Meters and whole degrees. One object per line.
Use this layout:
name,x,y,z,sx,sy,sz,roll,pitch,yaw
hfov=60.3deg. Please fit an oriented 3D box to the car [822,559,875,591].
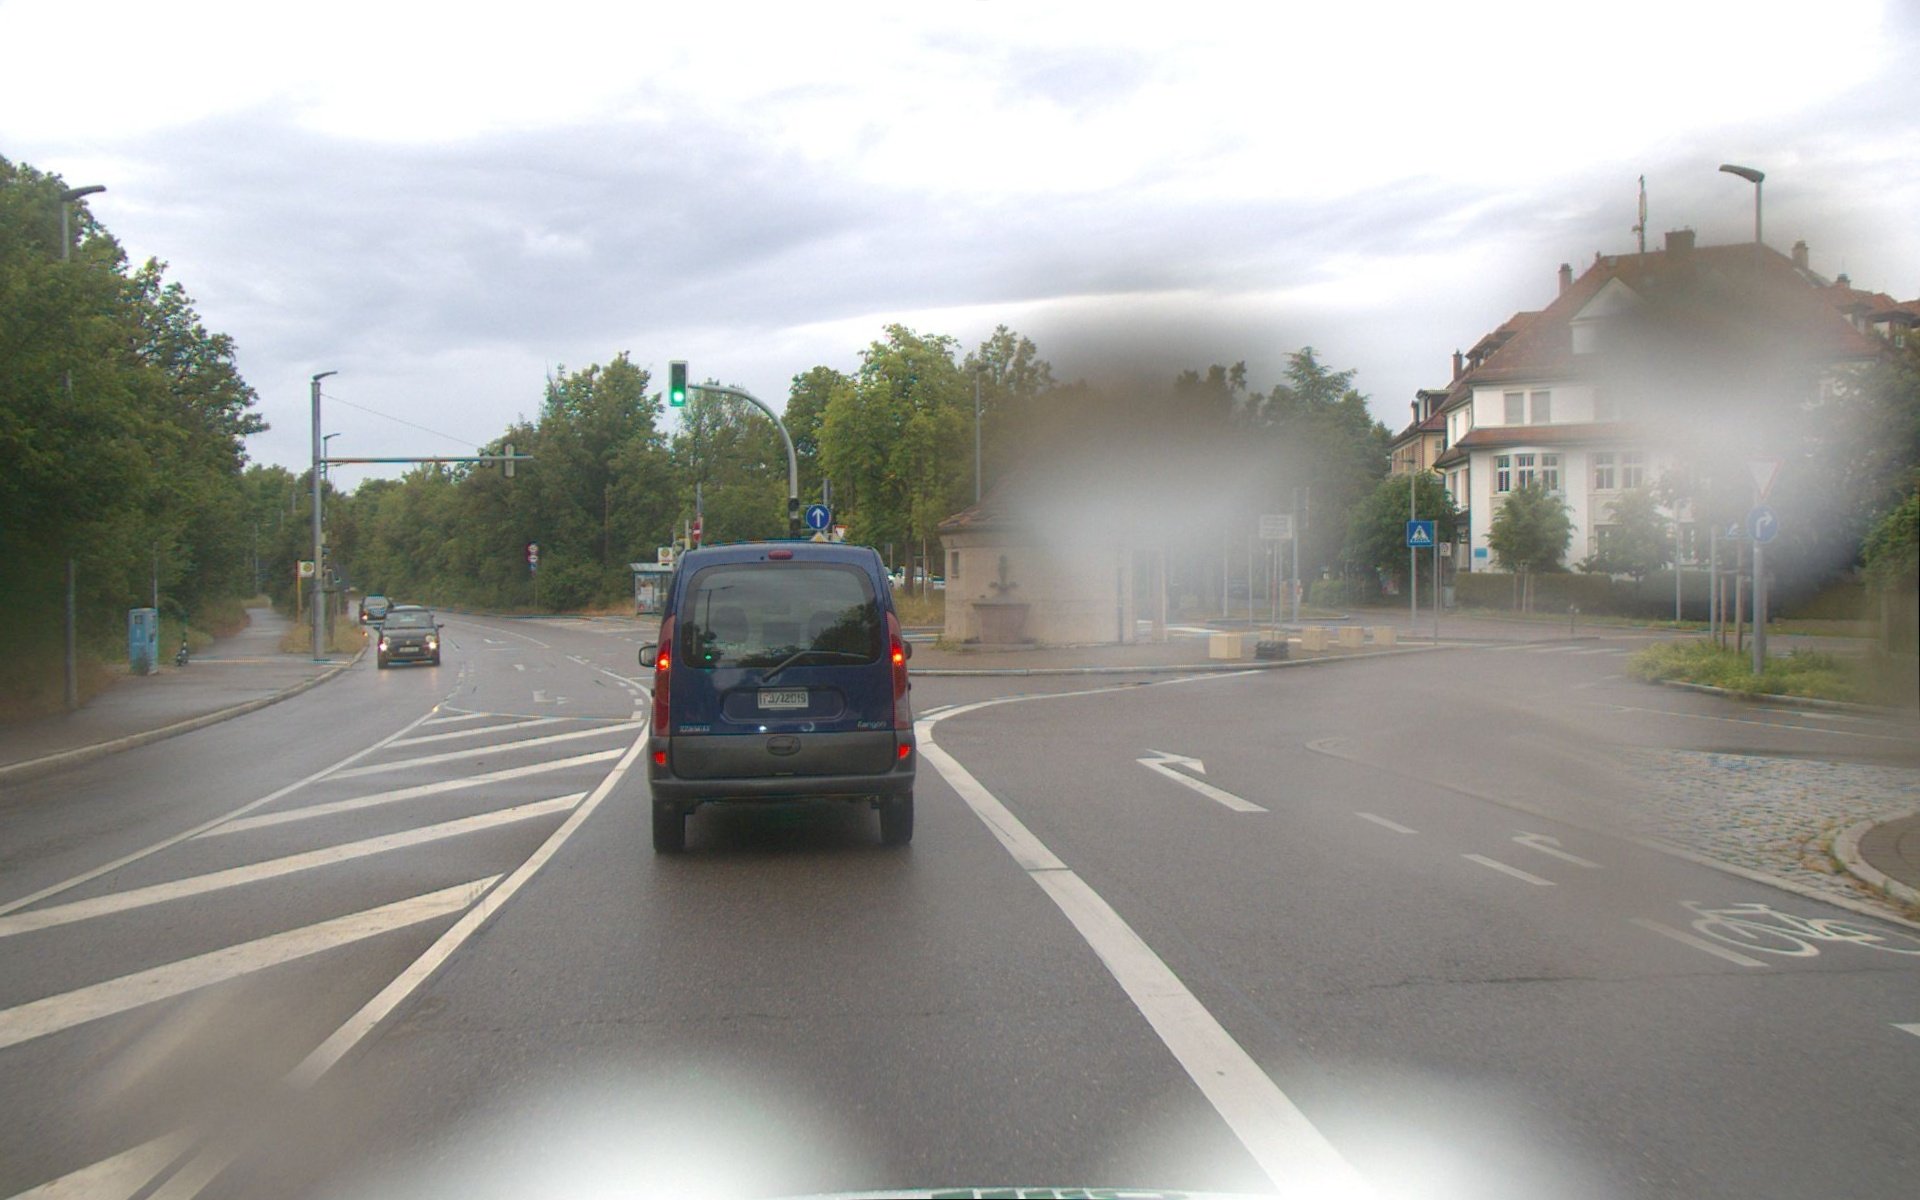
car,-6.125,-1.357,90.450,1.961,1.691,4.454,2,0,-16

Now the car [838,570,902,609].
car,-4.207,-0.493,76.693,1.963,1.691,3.978,2,0,-19

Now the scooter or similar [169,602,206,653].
scooter or similar,-19.386,0.671,41.523,0.508,1.233,1.464,-1,0,-12

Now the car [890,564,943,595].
car,-2.260,-1.021,84.244,1.854,1.506,4.053,1,-1,-14

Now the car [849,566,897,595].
car,-5.288,-1.181,99.767,1.961,1.691,4.454,2,0,-16

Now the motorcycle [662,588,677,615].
motorcycle,-14.085,0.061,80.181,0.577,1.311,1.536,-1,1,-6

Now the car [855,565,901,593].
car,-4.704,-1.161,94.587,1.854,1.506,4.052,0,-1,-15

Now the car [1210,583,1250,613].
car,18.410,-0.133,112.910,1.953,2.049,3.998,0,0,-3

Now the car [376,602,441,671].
car,-15.104,0.957,45.383,1.552,1.761,3.755,-2,1,-18

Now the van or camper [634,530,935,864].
van or camper,-1.253,0.527,11.292,1.680,1.858,3.993,0,0,-8

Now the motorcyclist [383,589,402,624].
motorcyclist,-27.596,0.310,80.433,0.734,1.660,0.923,-2,1,-17

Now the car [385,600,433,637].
car,-22.218,0.729,66.679,1.715,1.375,4.186,-2,1,-19

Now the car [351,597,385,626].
car,-35.227,0.661,98.422,1.762,1.608,4.537,-2,1,-19

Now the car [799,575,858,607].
car,-6.573,-0.439,82.371,1.963,1.506,4.260,1,-1,-19

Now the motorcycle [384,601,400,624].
motorcycle,-27.636,0.602,80.525,0.584,1.069,1.990,-2,1,-16
